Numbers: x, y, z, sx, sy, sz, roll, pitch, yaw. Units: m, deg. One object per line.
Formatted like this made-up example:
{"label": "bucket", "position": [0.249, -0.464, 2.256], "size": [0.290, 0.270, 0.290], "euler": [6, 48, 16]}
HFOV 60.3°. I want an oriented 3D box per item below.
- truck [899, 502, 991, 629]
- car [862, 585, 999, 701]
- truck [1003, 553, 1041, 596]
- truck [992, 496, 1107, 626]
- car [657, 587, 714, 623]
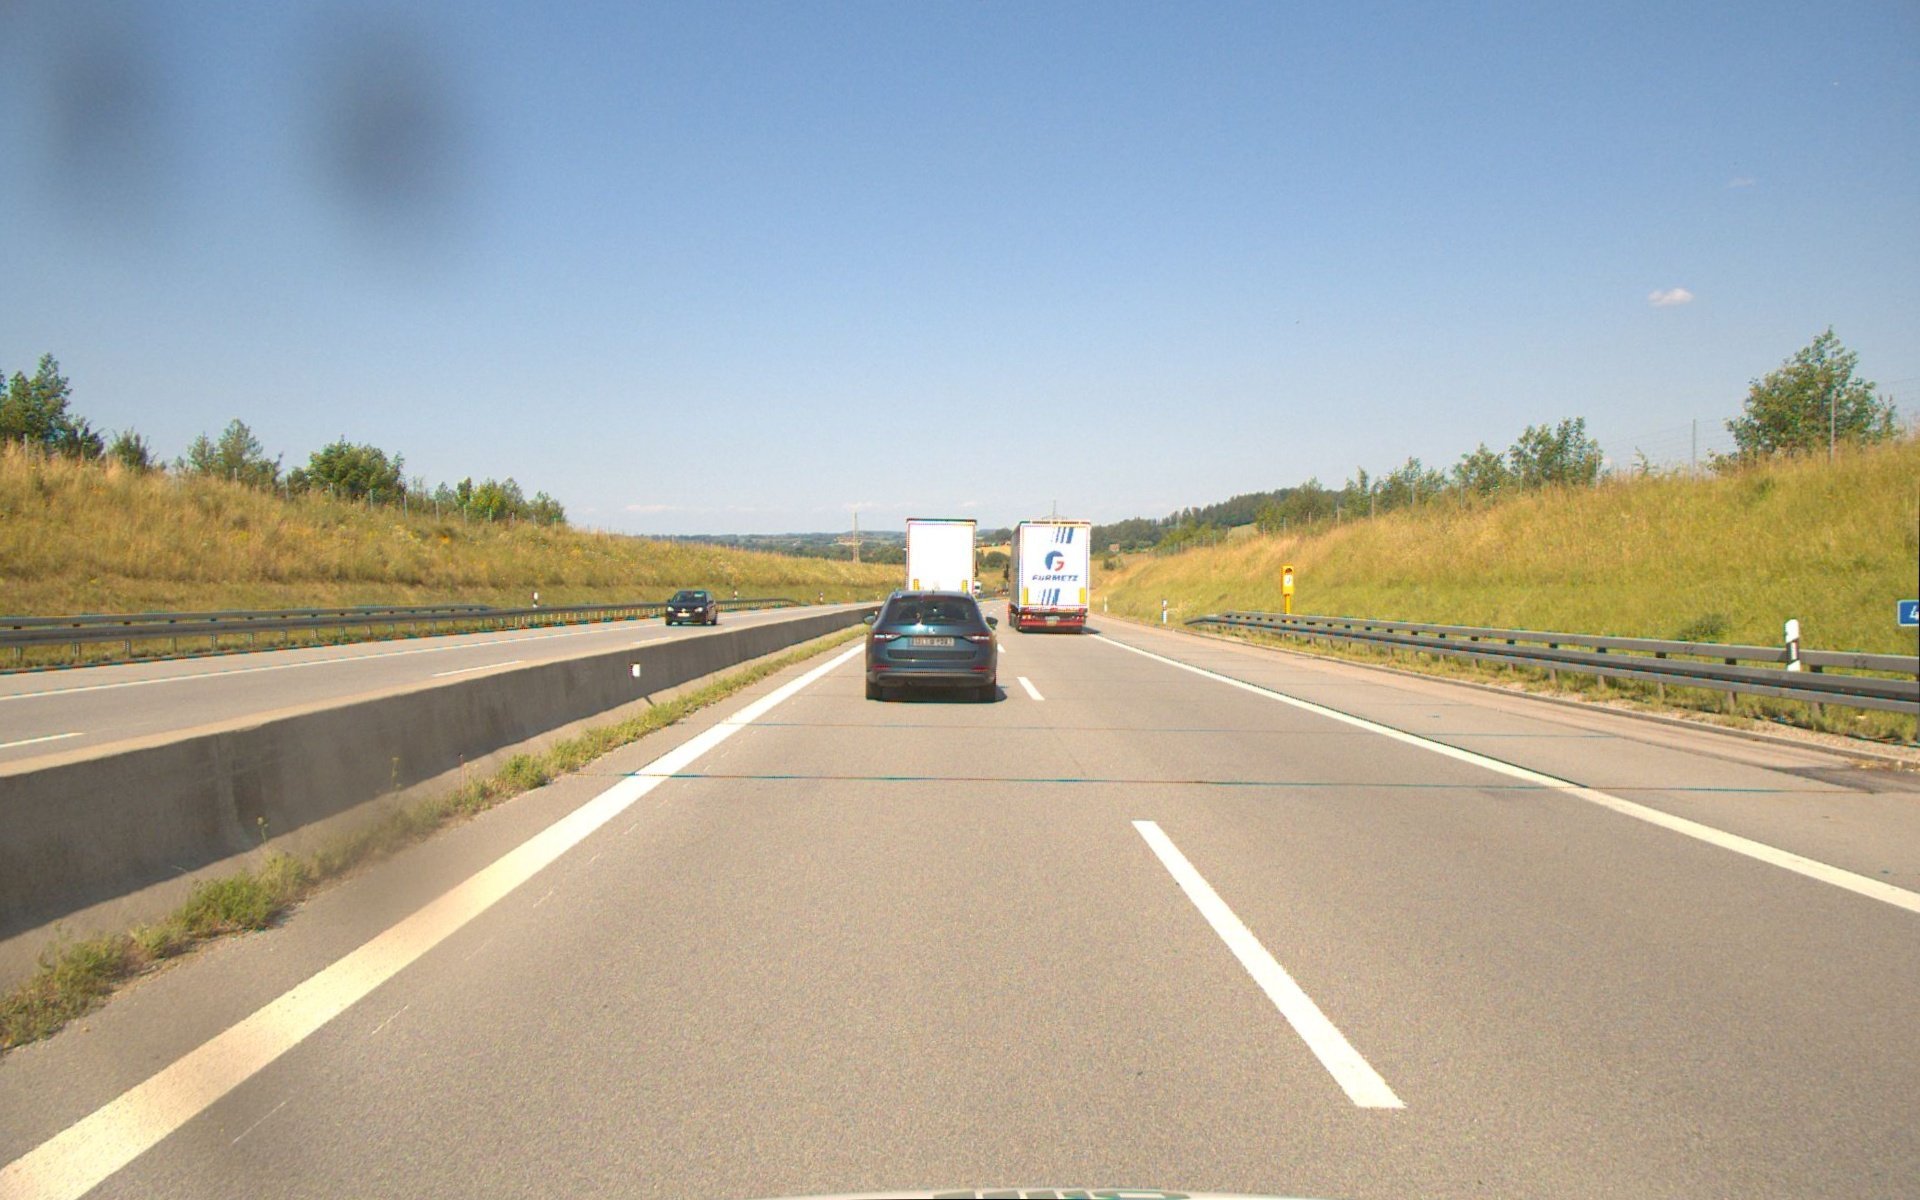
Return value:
{"label": "truck", "position": [-0.571, -1.324, 65.585], "size": [3.145, 4.457, 11.233], "euler": [-2, 1, 0]}
{"label": "car", "position": [-0.439, 0.532, 22.926], "size": [1.741, 1.466, 3.787], "euler": [0, 0, -2]}
{"label": "truck", "position": [6.802, -2.821, 183.036], "size": [3.531, 4.457, 11.232], "euler": [-2, 1, -1]}
{"label": "truck", "position": [3.266, -1.443, 63.971], "size": [3.531, 4.457, 11.232], "euler": [-2, 1, -1]}
{"label": "car", "position": [-11.626, 0.179, 70.221], "size": [1.710, 1.379, 4.000], "euler": [-3, 1, -1]}
